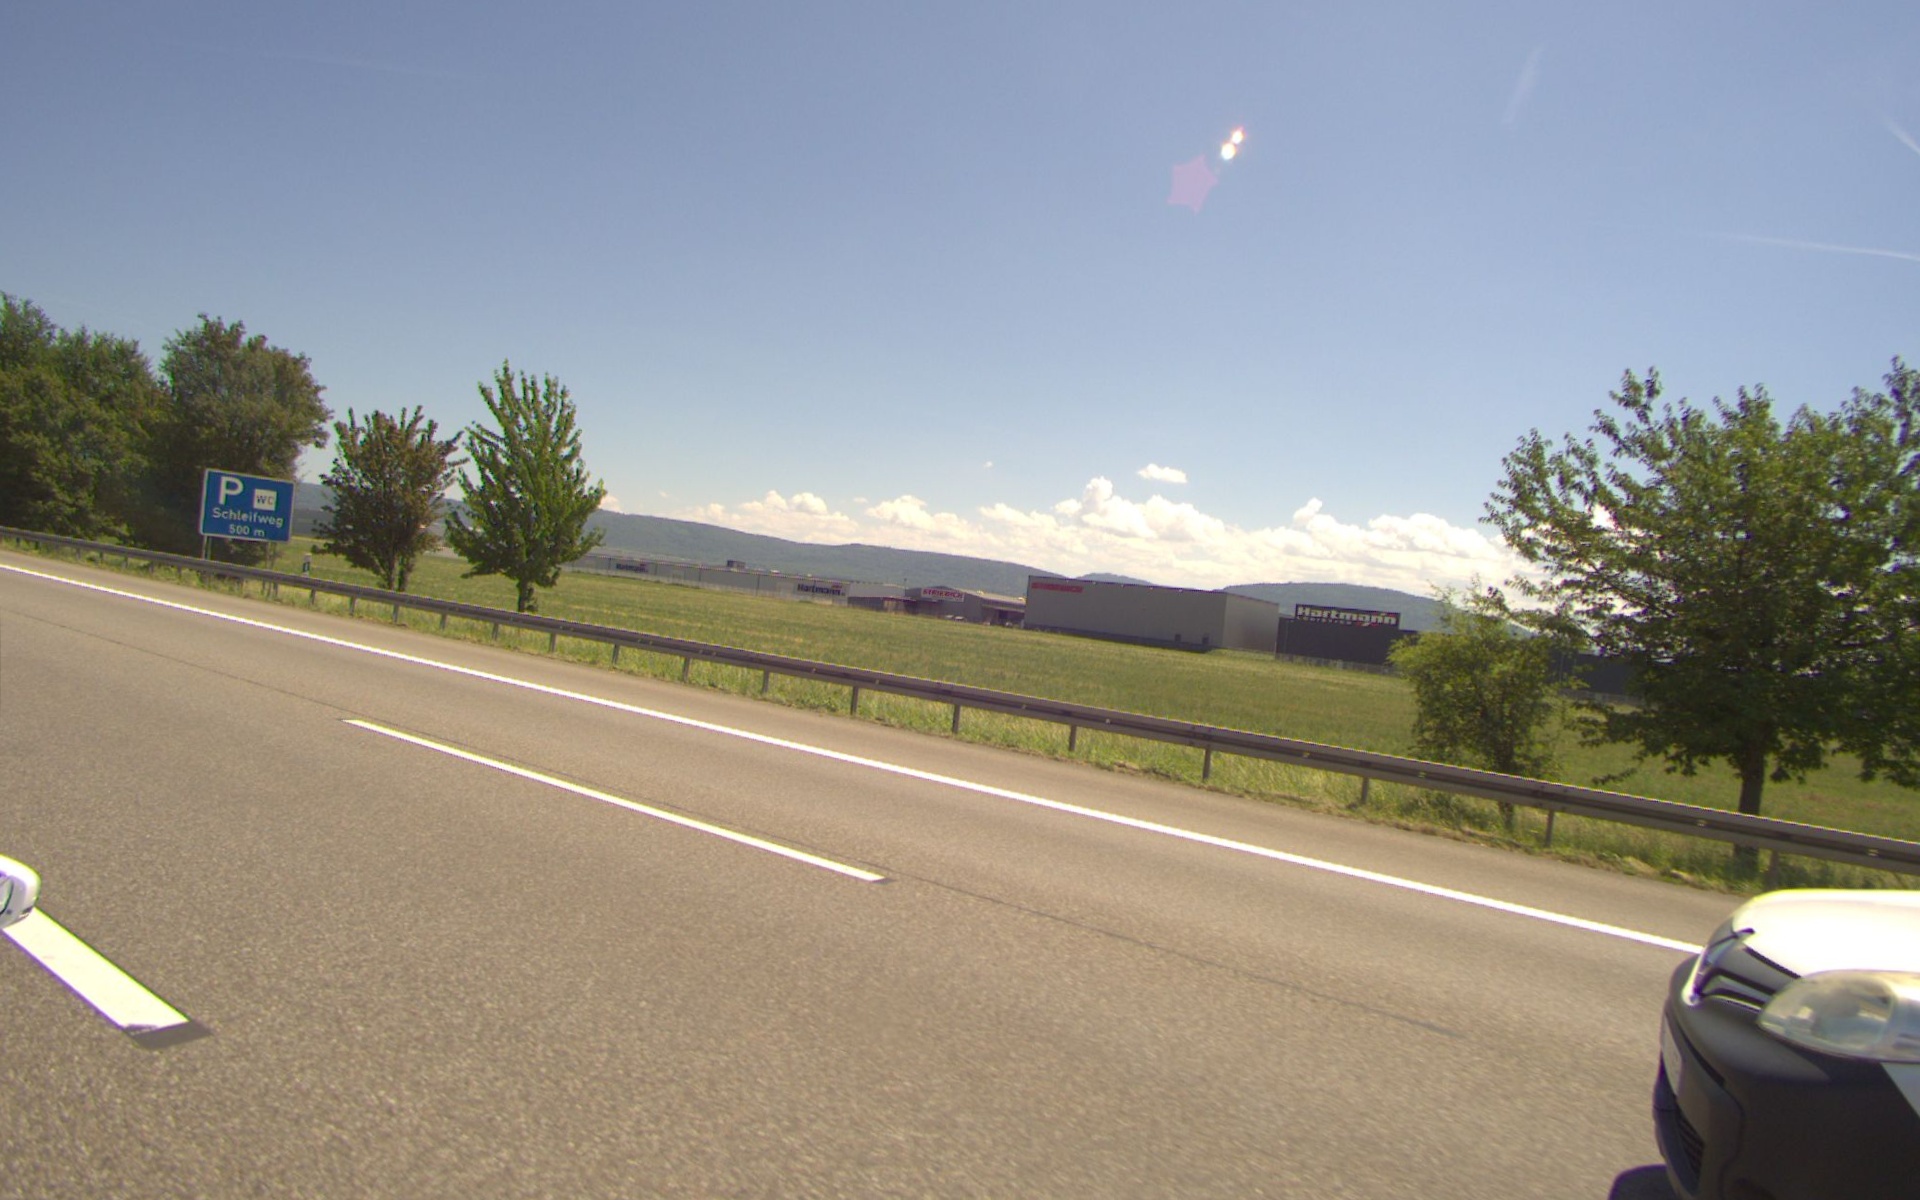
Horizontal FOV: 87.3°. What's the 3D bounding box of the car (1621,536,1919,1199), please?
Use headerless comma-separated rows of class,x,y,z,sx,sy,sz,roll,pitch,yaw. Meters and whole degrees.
car,4.124,1.118,1.802,4.622,1.884,1.857,7,-2,30
